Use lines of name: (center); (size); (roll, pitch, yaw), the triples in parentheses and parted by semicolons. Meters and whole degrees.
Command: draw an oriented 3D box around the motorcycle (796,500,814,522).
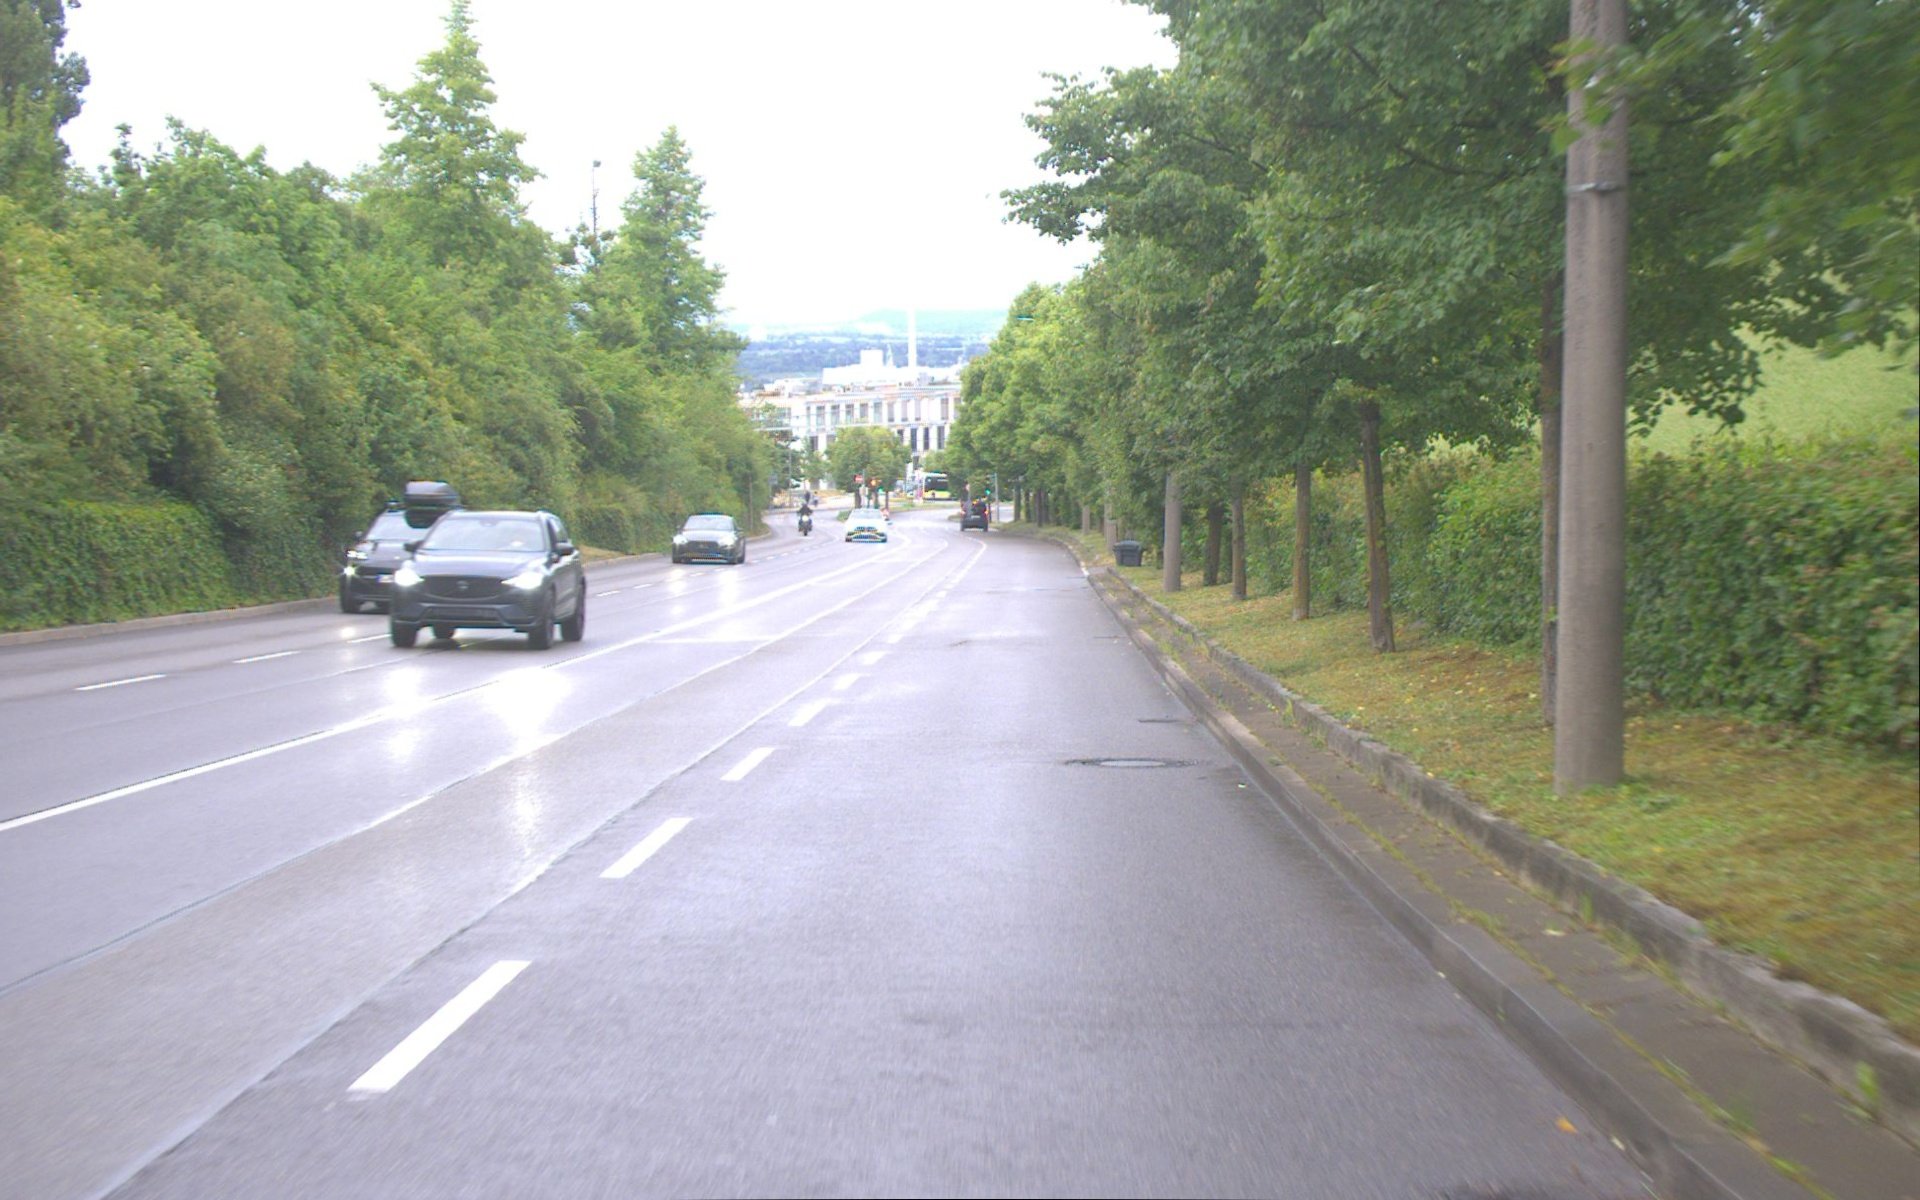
motorcycle: (-7.908, -4.534, 175.461); (0.805, 1.127, 2.231); (1, 2, 1)

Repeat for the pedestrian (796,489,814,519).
pedestrian: (-7.903, -4.893, 175.470); (0.805, 1.536, 1.111); (1, 1, 1)

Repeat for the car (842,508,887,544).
car: (-4.231, -3.285, 152.847); (1.715, 1.499, 4.517); (2, 2, 1)

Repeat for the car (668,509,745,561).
car: (-7.330, -1.904, 99.909); (1.759, 1.376, 4.838); (2, 2, 1)

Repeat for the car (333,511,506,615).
car: (-8.617, -0.624, 55.136); (1.899, 1.547, 4.630); (2, 1, 2)

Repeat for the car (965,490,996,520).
car: (1.265, -5.790, 210.246); (1.849, 1.696, 3.793); (2, 0, 0)

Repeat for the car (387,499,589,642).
car: (-5.785, -0.404, 42.646); (1.812, 1.652, 4.595); (1, 1, 1)
